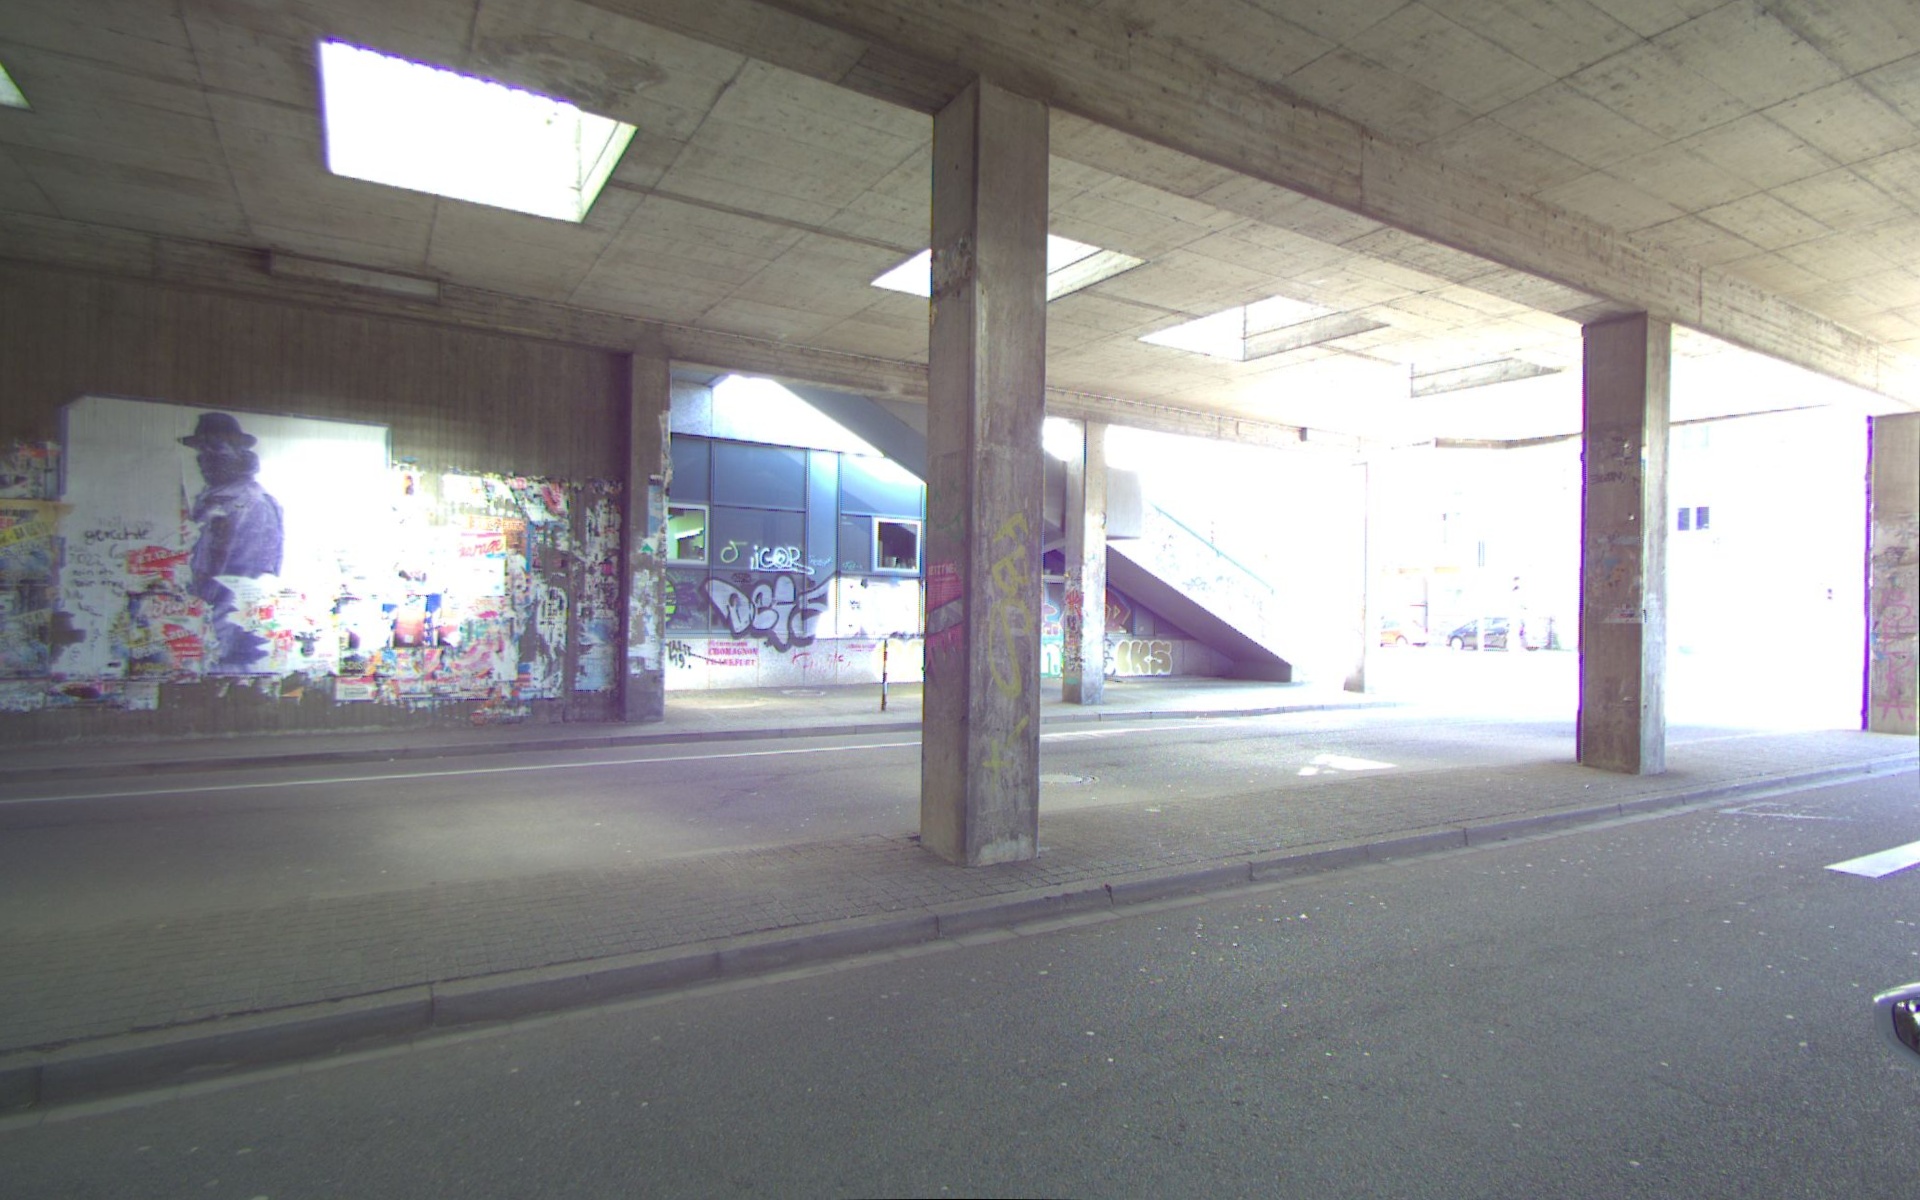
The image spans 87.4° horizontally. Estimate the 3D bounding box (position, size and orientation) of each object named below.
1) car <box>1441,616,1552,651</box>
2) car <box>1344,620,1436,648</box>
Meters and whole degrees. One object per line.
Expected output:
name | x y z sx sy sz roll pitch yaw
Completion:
car | 25.400 1.572 47.653 2.240 1.571 4.111 1 -1 -29
car | 22.479 1.758 52.664 2.163 1.392 3.971 1 -1 -28
